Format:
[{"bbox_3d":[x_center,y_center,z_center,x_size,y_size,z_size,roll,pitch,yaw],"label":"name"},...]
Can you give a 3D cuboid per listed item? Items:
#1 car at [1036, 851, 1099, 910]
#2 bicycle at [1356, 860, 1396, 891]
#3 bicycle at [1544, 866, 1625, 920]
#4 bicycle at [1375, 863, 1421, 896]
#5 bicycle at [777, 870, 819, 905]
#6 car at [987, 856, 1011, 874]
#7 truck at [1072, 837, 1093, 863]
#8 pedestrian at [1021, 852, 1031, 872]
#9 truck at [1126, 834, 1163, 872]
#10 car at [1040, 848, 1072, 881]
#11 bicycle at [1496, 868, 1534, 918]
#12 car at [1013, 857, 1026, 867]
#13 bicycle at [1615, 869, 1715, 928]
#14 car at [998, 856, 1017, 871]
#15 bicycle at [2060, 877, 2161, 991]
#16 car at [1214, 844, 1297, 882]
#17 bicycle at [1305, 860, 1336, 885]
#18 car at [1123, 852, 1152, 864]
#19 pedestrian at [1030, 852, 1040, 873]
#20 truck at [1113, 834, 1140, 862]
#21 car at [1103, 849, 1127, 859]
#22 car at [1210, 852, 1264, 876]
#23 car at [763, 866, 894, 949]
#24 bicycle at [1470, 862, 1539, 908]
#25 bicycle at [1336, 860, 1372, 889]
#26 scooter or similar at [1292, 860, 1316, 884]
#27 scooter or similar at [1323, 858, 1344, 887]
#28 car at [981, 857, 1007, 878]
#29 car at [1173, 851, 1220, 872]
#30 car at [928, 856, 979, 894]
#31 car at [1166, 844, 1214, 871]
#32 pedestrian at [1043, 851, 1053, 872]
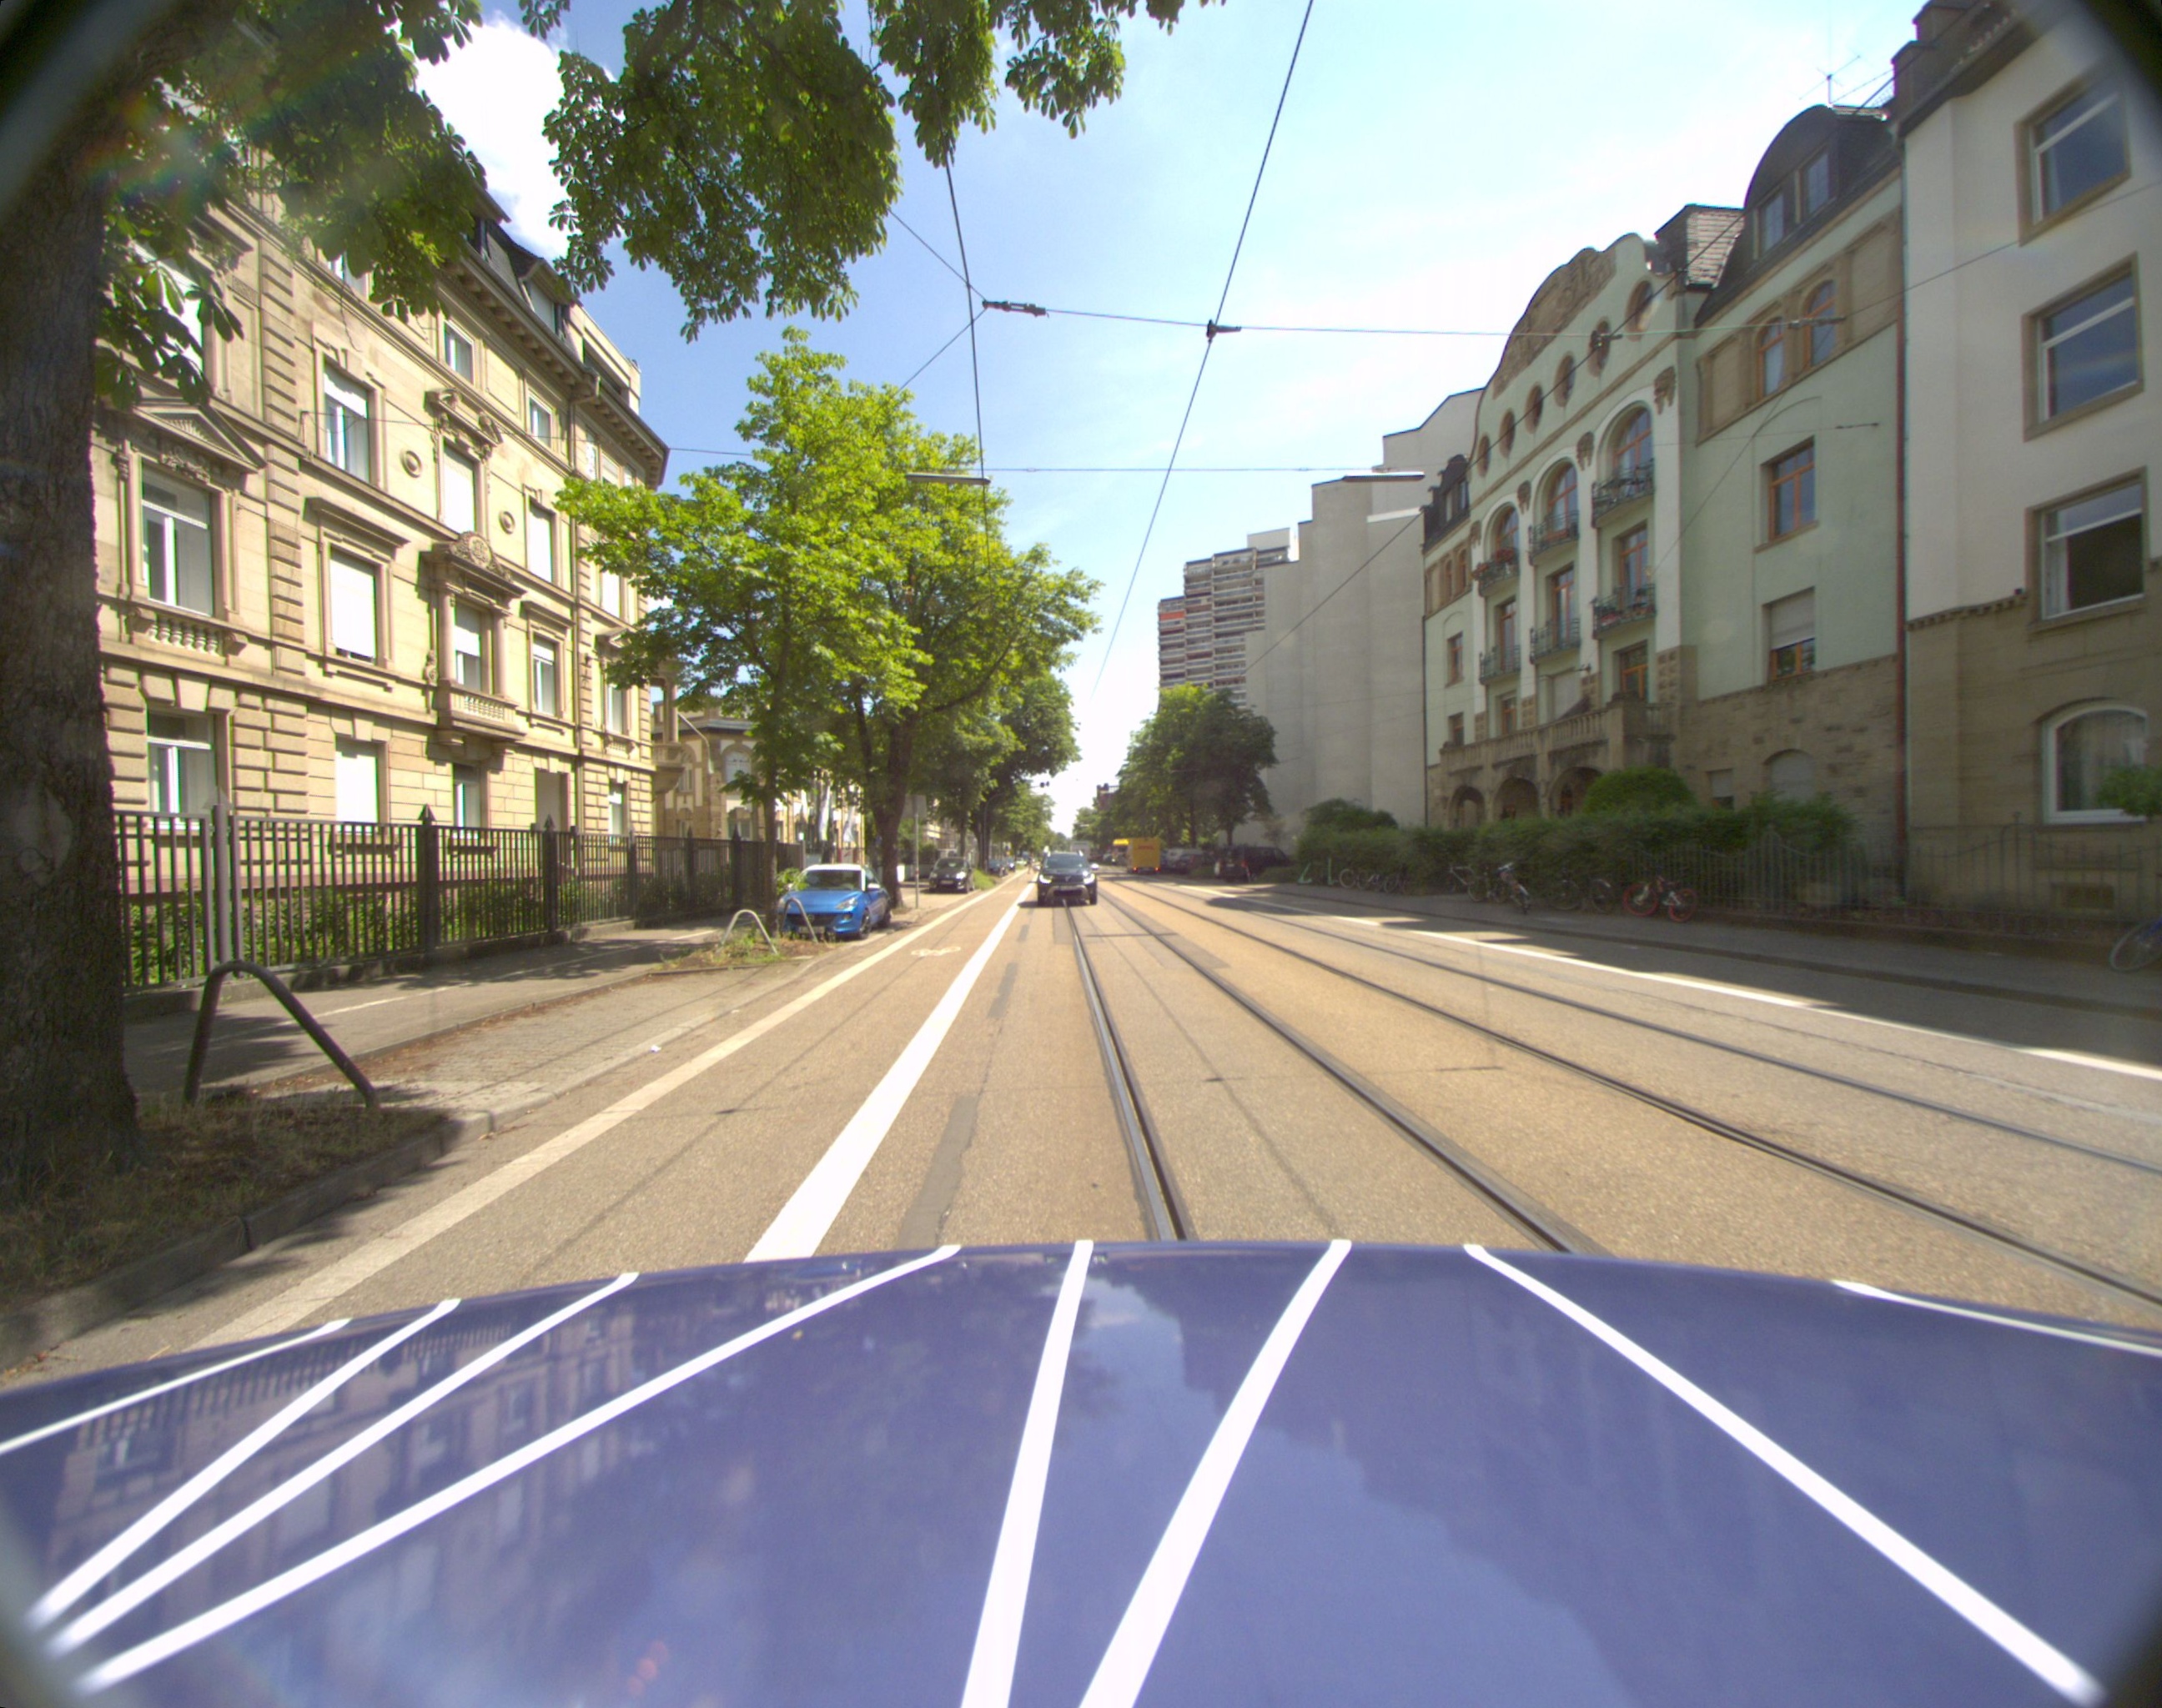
[{"bbox_3d":[-0.460,0.756,23.912,1.753,1.641,4.296,-2,0,-2],"label":"car"},{"bbox_3d":[10.235,0.746,26.401,0.609,0.983,1.707,-5,0,-2],"label":"bicycle"},{"bbox_3d":[10.499,0.789,15.909,0.465,0.993,1.707,-4,0,-2],"label":"bicycle"},{"bbox_3d":[10.202,0.804,24.505,0.609,0.970,1.771,-5,0,-2],"label":"bicycle"},{"bbox_3d":[-9.207,1.072,24.758,0.609,1.065,1.980,-1,0,0],"label":"bicycle"},{"bbox_3d":[-6.771,0.873,62.982,1.626,1.395,3.999,1,0,-2],"label":"car"},{"bbox_3d":[0.216,-0.557,108.872,2.792,3.598,8.255,-1,0,0],"label":"truck"},{"bbox_3d":[-4.922,0.709,67.914,0.645,1.839,0.741,0,1,24],"label":"pedestrian"},{"bbox_3d":[5.076,-0.104,61.669,2.307,2.903,6.514,-1,0,-1],"label":"truck"},{"bbox_3d":[-1.479,0.582,45.718,1.753,1.806,4.307,-3,0,-1],"label":"car"},{"bbox_3d":[9.621,0.834,16.835,0.608,0.993,1.778,0,0,34],"label":"bicycle"},{"bbox_3d":[-8.928,1.122,110.218,1.626,1.395,3.999,1,0,-2],"label":"car"},{"bbox_3d":[10.741,0.796,14.057,0.414,0.960,1.725,-4,0,-2],"label":"bicycle"},{"bbox_3d":[-7.268,0.923,75.481,1.626,1.395,3.999,1,0,-2],"label":"car"},{"bbox_3d":[10.940,0.804,7.329,0.609,1.058,1.771,-5,0,-2],"label":"bicycle"},{"bbox_3d":[9.538,0.446,41.407,4.595,1.914,1.957,-1,0,-39],"label":"car"},{"bbox_3d":[10.034,0.759,31.868,0.609,0.983,1.707,-5,0,-2],"label":"bicycle"},{"bbox_3d":[7.255,0.515,97.325,1.678,1.445,3.682,0,0,42],"label":"car"},{"bbox_3d":[-4.134,0.754,67.730,0.645,1.839,0.741,-1,1,15],"label":"pedestrian"},{"bbox_3d":[7.025,-0.916,116.440,2.672,4.155,10.481,-1,0,11],"label":"truck"},{"bbox_3d":[6.544,0.057,146.465,4.338,1.797,1.995,-1,0,-35],"label":"car"},{"bbox_3d":[9.907,0.623,48.145,1.721,1.445,3.635,0,0,42],"label":"car"},{"bbox_3d":[-5.095,1.011,15.802,1.696,1.444,3.473,-1,0,-3],"label":"car"},{"bbox_3d":[10.531,0.752,18.956,0.609,1.026,1.771,-5,0,-2],"label":"bicycle"},{"bbox_3d":[10.201,0.757,28.459,0.609,0.983,1.707,-5,0,-2],"label":"bicycle"},{"bbox_3d":[9.878,0.795,33.672,0.407,1.014,1.222,-1,0,-18],"label":"scooter or similar"},{"bbox_3d":[10.049,0.726,30.262,0.407,1.113,1.290,-1,0,0],"label":"scooter or similar"},{"bbox_3d":[-6.431,0.974,56.615,1.626,1.395,3.822,1,0,-2],"label":"car"},{"bbox_3d":[8.795,0.541,57.649,3.692,1.566,1.678,-1,1,-45],"label":"car"},{"bbox_3d":[-5.759,0.899,34.691,1.734,1.606,4.083,1,0,-2],"label":"car"},{"bbox_3d":[8.810,0.263,61.126,4.061,2.030,1.598,-1,1,-42],"label":"car"},{"bbox_3d":[-2.958,0.692,67.574,0.645,1.839,0.741,-1,1,13],"label":"pedestrian"}]
